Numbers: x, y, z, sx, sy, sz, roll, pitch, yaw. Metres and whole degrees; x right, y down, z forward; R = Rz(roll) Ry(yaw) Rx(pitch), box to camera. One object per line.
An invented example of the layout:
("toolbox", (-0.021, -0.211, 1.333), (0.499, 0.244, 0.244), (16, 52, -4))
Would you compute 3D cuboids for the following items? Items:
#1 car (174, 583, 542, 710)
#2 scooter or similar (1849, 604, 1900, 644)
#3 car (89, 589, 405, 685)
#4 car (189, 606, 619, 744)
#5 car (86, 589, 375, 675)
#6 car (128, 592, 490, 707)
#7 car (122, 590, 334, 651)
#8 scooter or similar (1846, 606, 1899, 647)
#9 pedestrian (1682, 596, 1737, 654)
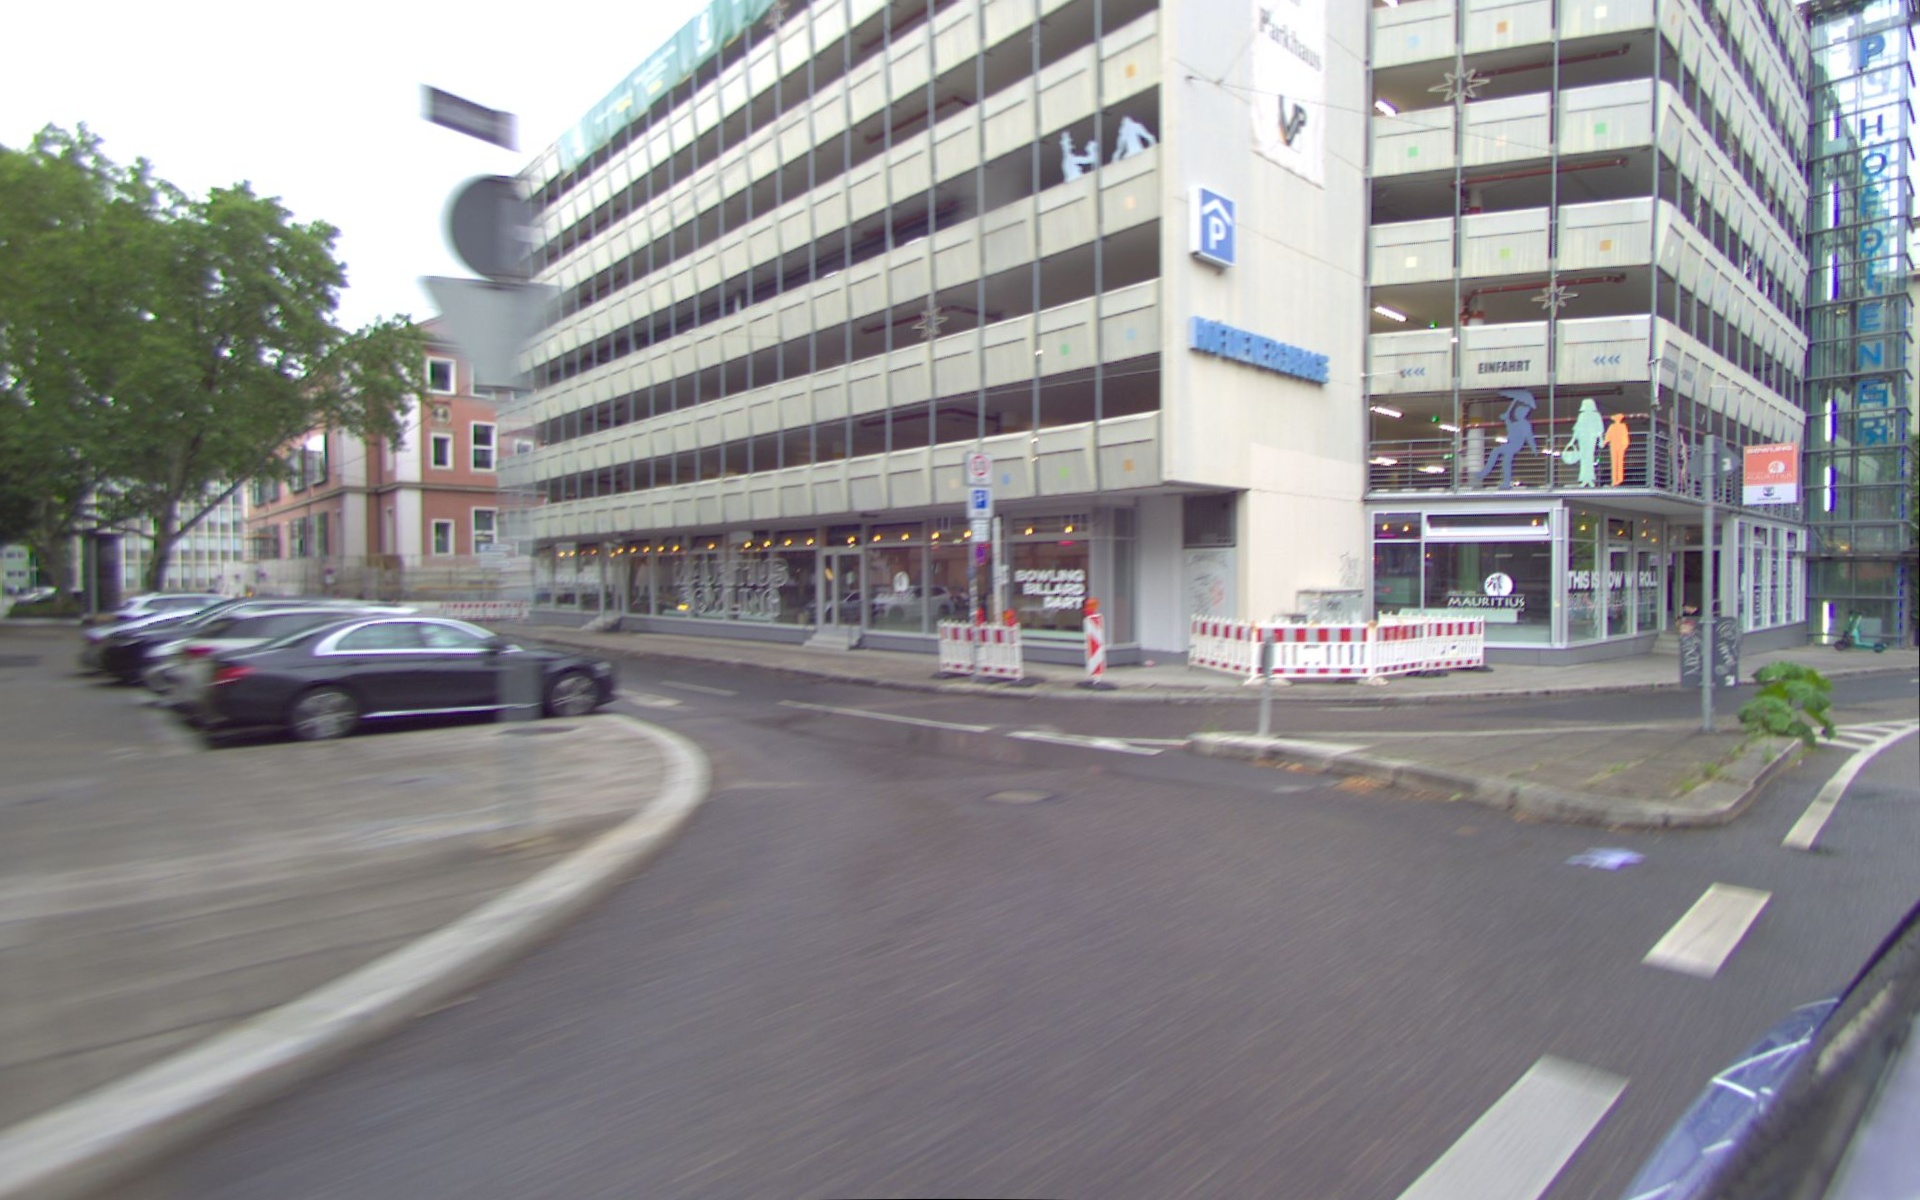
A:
("car", (-8.871, 0.579, 15.138), (4.472, 1.616, 1.977), (-1, -1, -41))
("scooter or similar", (28.825, 0.753, 31.913), (1.066, 1.188, 0.461), (2, 1, 27))
("car", (-13.639, 0.631, 19.559), (4.821, 1.616, 1.977), (-1, -1, -42))
("car", (-7.076, 0.825, 13.175), (4.618, 1.416, 1.977), (-1, 0, -41))
("car", (-15.383, 0.597, 21.518), (4.821, 1.616, 1.977), (-1, -1, -42))
("car", (-10.637, 0.711, 16.779), (4.821, 1.616, 1.977), (-1, -1, -42))
("car", (-21.003, 0.547, 29.201), (4.815, 1.616, 1.979), (-1, 0, -38))
("scooter or similar", (27.410, 0.783, 30.403), (1.066, 1.188, 0.461), (2, 1, 27))
("pedestrian", (19.132, 0.621, 25.829), (1.014, 1.400, 0.903), (0, 3, -42))
